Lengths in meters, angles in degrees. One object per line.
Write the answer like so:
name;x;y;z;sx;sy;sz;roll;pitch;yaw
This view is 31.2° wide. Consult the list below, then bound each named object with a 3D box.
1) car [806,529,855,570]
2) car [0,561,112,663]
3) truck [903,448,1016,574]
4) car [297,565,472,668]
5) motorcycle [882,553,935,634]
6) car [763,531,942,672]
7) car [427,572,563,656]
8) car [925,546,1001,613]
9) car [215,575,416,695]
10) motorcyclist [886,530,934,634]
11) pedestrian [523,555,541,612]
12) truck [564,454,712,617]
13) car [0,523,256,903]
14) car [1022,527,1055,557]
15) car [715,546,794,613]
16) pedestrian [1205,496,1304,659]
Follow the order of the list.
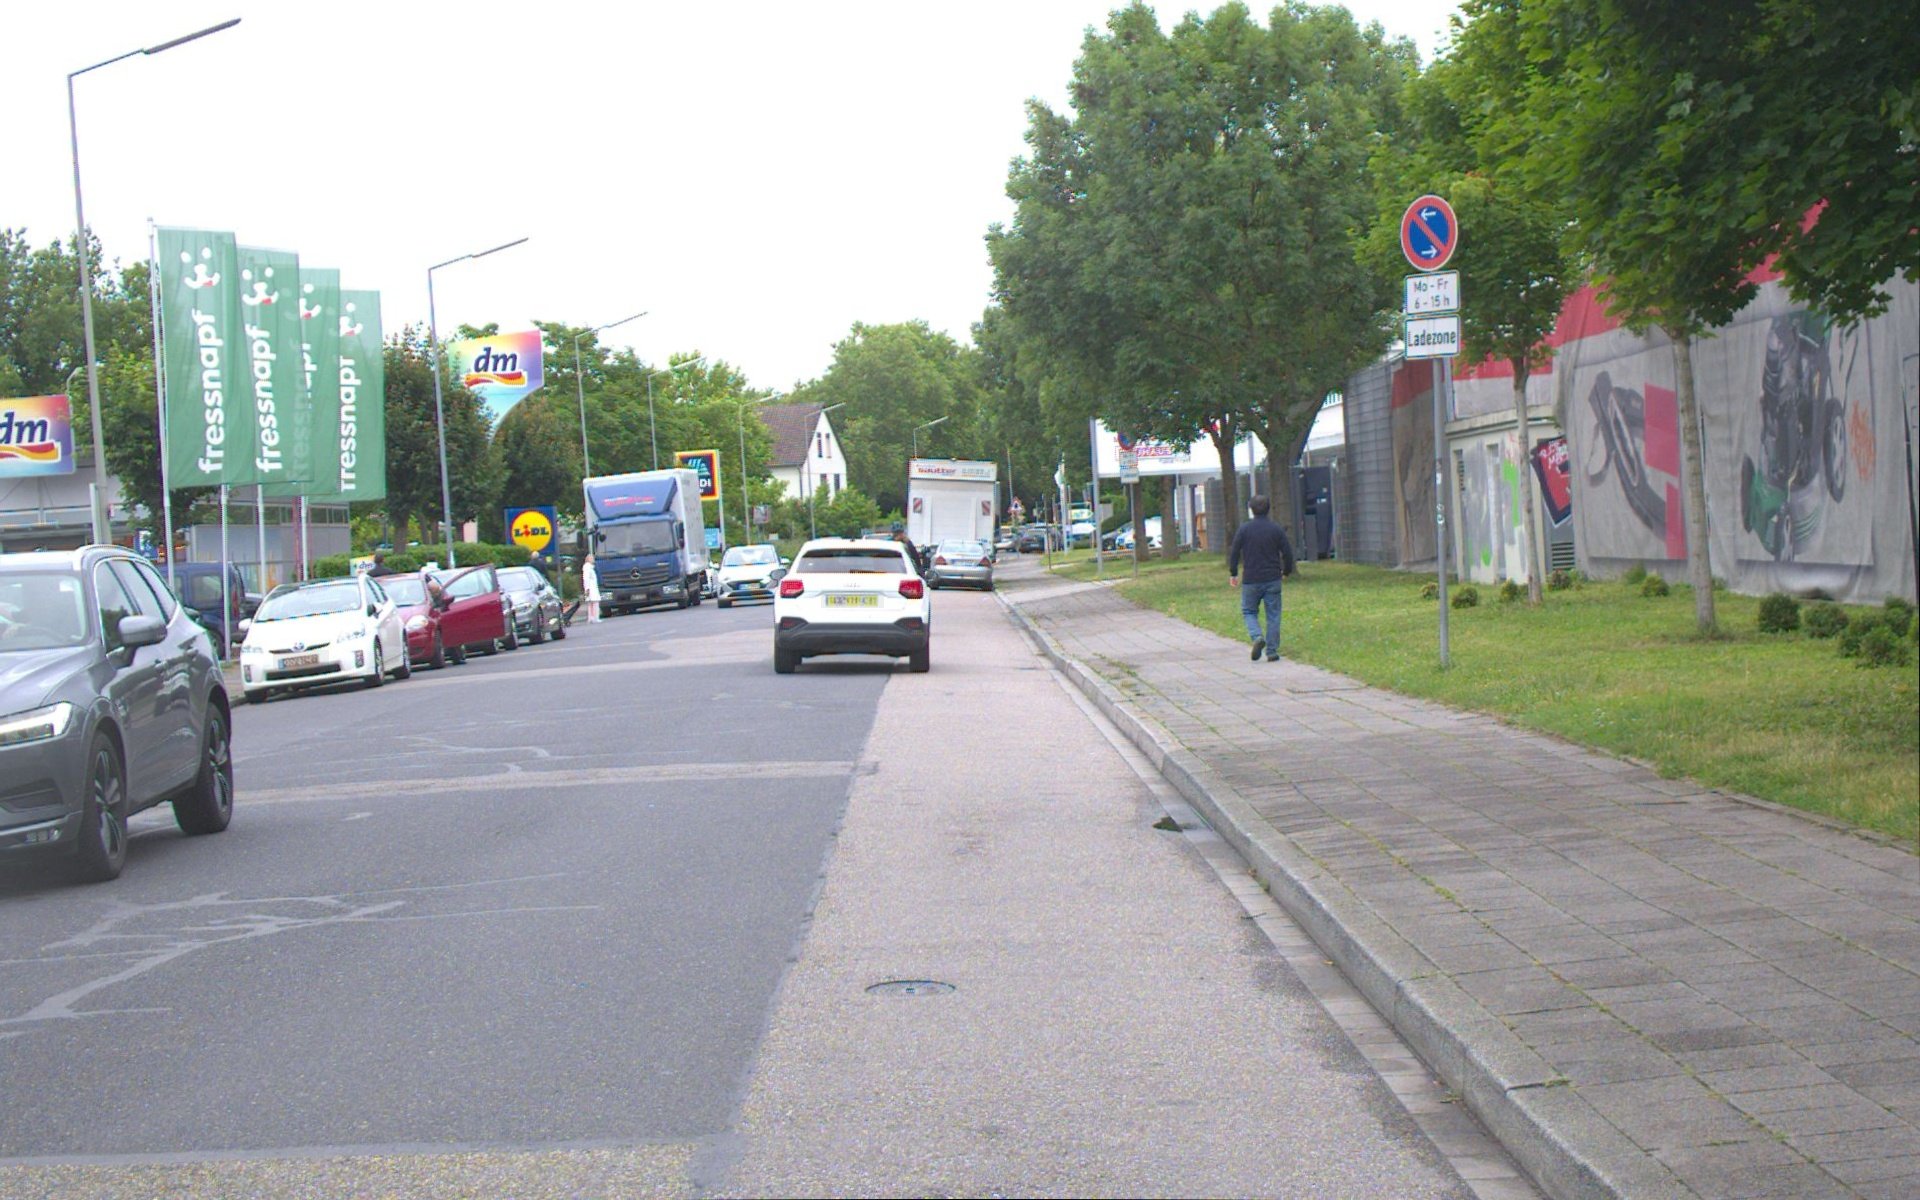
car;-5.501;-2.147;146.278;1.993;1.678;4.000;-2;0;-1
car;-15.334;0.251;52.894;4.135;1.458;1.899;-3;1;-5
truck;-0.106;-2.643;105.321;3.135;3.572;10.051;-2;0;-1
car;-8.655;0.216;52.005;1.898;1.362;4.000;-3;1;0
motorcycle;-0.781;-0.112;52.711;0.641;1.174;2.113;-3;1;2
car;-1.207;-0.023;40.301;1.886;1.526;4.254;-1;1;1
car;-8.535;0.235;63.416;1.898;1.362;4.000;-3;1;0
car;0.055;-0.580;96.284;1.993;1.799;4.000;-2;0;-1
car;-8.469;0.427;45.516;1.898;1.362;4.000;-3;1;-1
motorcyclist;-0.767;-0.287;52.599;0.625;1.548;0.604;-3;1;2
pedestrian;-11.749;-0.452;94.347;0.401;1.526;0.485;-4;1;-6
truck;-8.465;-1.708;91.002;2.973;3.942;6.405;-4;1;1
car;-5.040;0.529;17.623;1.933;1.678;4.495;-4;1;-1
car;4.562;-3.363;200.184;1.886;1.677;4.254;-1;1;1
car;-5.100;-0.525;85.627;1.599;1.523;3.528;-5;1;1
pedestrian;3.014;-0.232;35.244;0.919;1.629;0.852;-2;0;2
